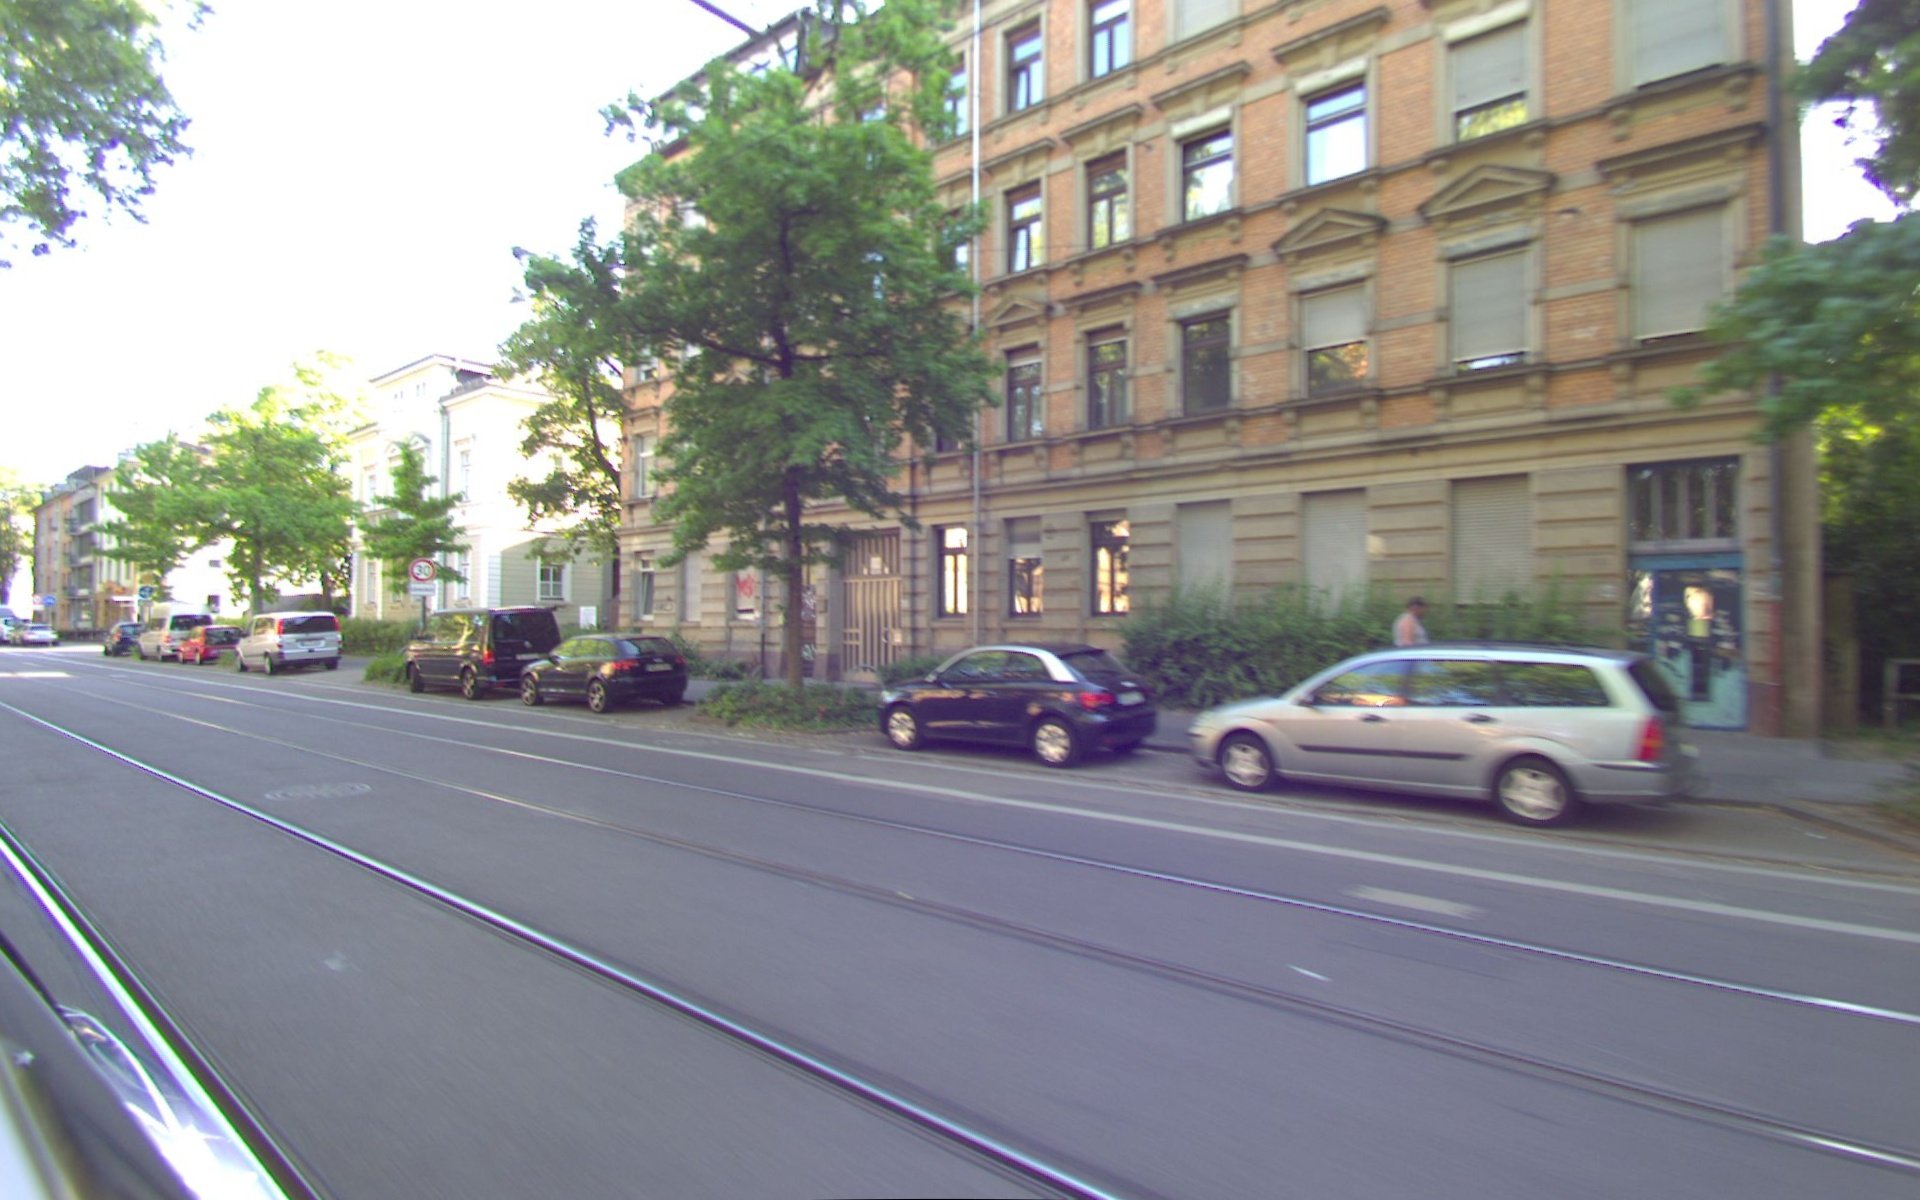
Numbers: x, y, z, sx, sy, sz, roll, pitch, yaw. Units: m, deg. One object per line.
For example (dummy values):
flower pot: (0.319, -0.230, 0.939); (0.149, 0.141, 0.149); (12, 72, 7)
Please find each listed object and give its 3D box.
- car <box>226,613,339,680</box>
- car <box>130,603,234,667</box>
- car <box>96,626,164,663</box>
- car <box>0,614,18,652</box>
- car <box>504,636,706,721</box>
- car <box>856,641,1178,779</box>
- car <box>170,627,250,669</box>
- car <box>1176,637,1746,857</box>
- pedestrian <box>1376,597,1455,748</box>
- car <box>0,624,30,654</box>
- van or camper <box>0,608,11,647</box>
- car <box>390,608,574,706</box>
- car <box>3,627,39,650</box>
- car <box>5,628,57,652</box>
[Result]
car: (-21.875, 1.469, 32.605); (4.986, 2.004, 1.824); (-2, -3, 42)
car: (-32.740, 1.453, 42.538); (5.338, 2.527, 2.281); (-1, -3, 39)
car: (-39.858, 2.104, 48.560); (4.262, 1.703, 1.970); (-2, -3, 43)
car: (-73.390, 2.516, 77.031); (4.544, 2.767, 1.903); (-1, 1, 41)
car: (-7.067, 1.464, 19.968); (4.266, 1.469, 1.834); (-1, -3, 40)
car: (0.626, 1.278, 12.958); (3.946, 1.456, 1.641); (-2, -2, 41)
car: (-29.183, 1.846, 39.348); (3.705, 1.551, 1.667); (-1, -3, 40)
car: (4.470, 1.151, 9.590); (4.537, 1.562, 1.680); (-2, -2, 44)
pedestrian: (5.834, 0.897, 12.949); (0.728, 1.861, 0.734); (-2, -1, 39)
car: (-68.877, 2.812, 73.105); (4.937, 2.062, 1.903); (-1, -2, 40)
van or camper: (-78.409, 2.256, 81.434); (5.989, 2.999, 2.392); (-1, 1, 42)
car: (-11.112, 1.259, 23.380); (4.830, 2.029, 1.973); (-1, -3, 40)
car: (-64.323, 2.636, 69.307); (2.881, 1.504, 1.554); (-1, -2, 41)
car: (-60.843, 2.590, 66.248); (4.935, 1.504, 1.754); (-1, -2, 38)
